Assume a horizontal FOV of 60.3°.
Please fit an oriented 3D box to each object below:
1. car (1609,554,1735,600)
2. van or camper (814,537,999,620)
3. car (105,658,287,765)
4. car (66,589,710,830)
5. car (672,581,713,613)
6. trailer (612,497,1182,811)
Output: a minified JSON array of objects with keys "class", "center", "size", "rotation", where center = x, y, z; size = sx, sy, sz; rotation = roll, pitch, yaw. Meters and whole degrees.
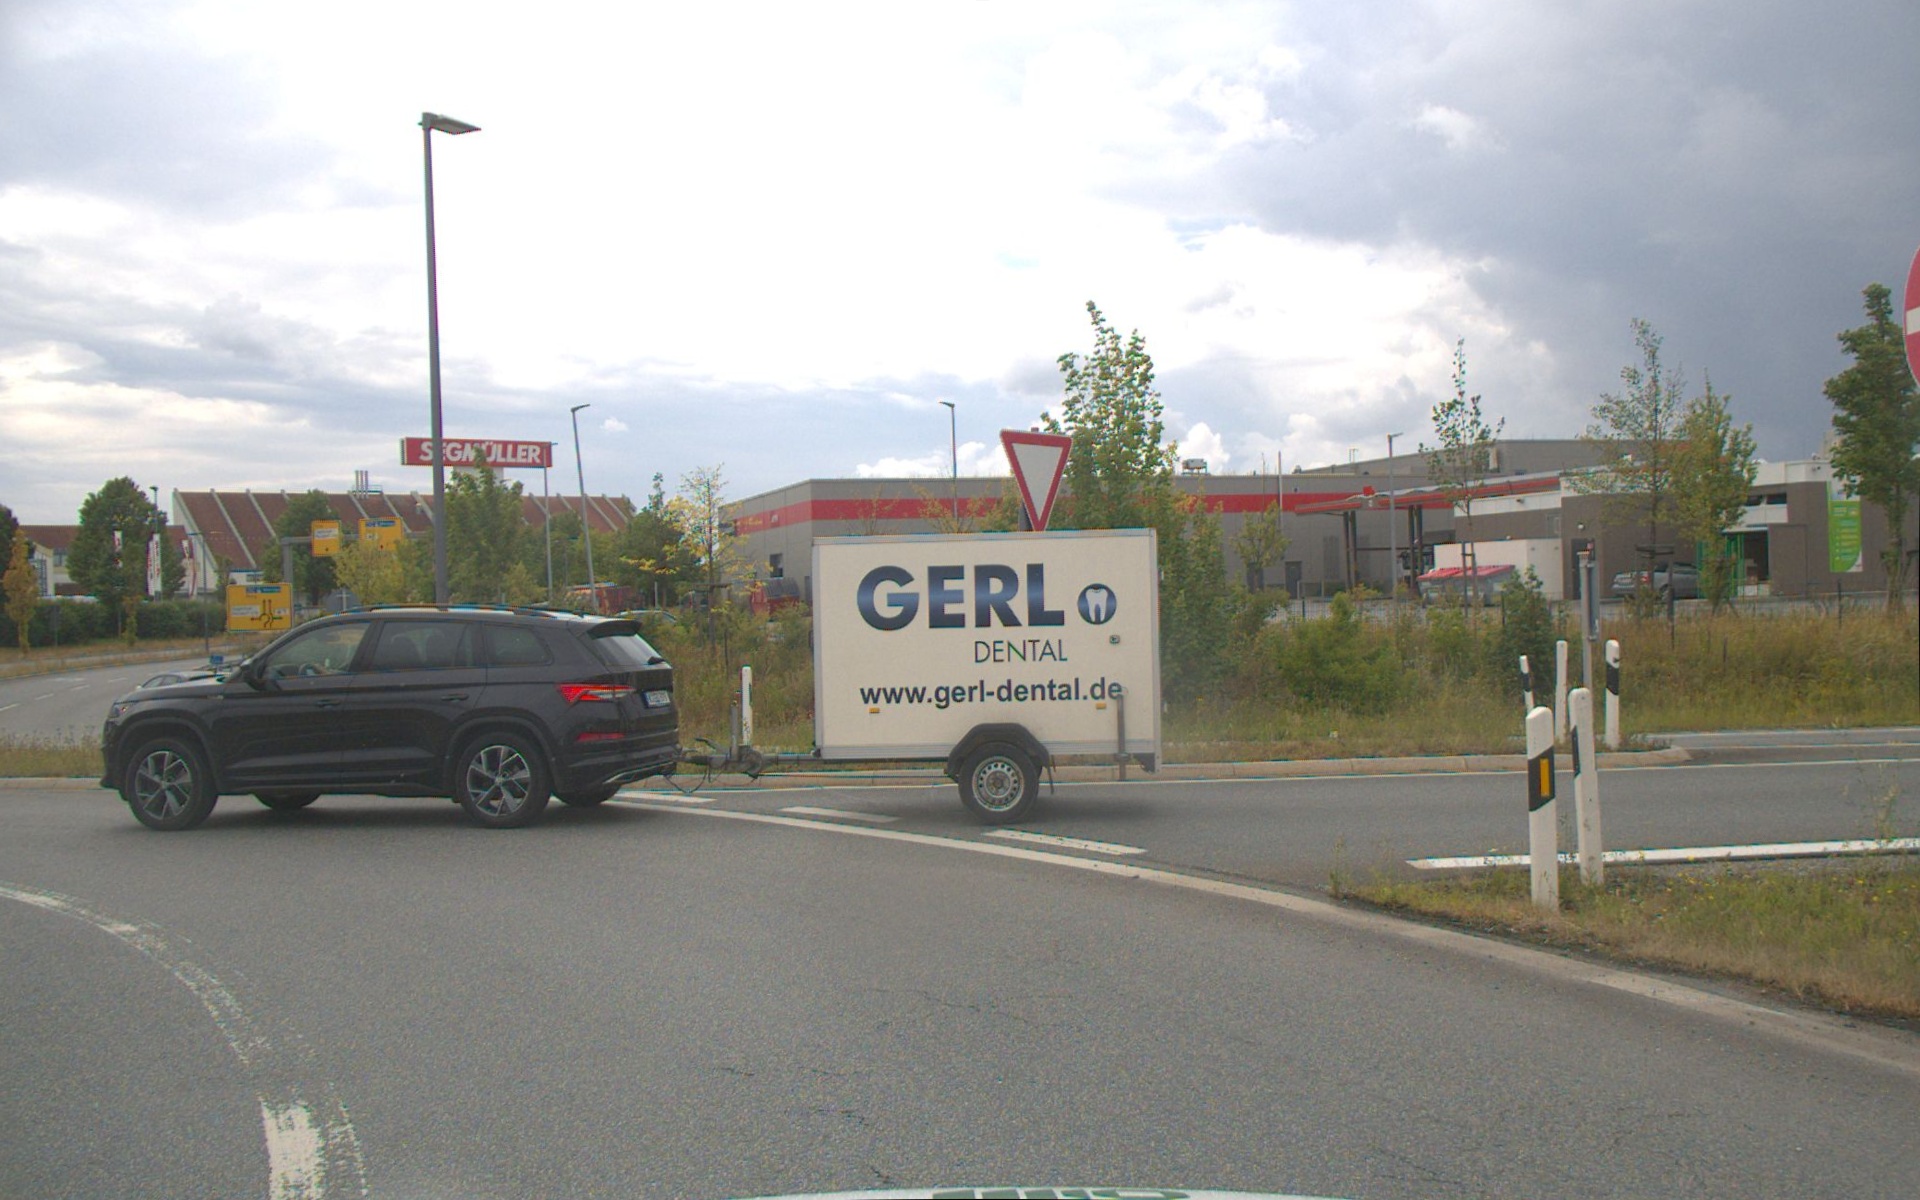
[{"class":"car","center":[24.296,-0.784,56.442],"size":[3.932,1.456,1.659],"rotation":[-2,-1,-22]},{"class":"van or camper","center":[-2.328,-0.974,72.075],"size":[7.601,3.234,2.478],"rotation":[-3,1,-20]},{"class":"car","center":[-14.576,2.059,31.496],"size":[3.671,1.632,1.863],"rotation":[0,4,44]},{"class":"car","center":[-4.478,0.840,13.254],"size":[4.502,1.699,1.818],"rotation":[-2,1,9]},{"class":"car","center":[-16.850,-0.204,104.001],"size":[1.676,1.842,3.946],"rotation":[-5,1,-20]},{"class":"trailer","center":[-0.413,0.407,12.738],"size":[4.045,2.128,1.813],"rotation":[-2,-1,4]}]
